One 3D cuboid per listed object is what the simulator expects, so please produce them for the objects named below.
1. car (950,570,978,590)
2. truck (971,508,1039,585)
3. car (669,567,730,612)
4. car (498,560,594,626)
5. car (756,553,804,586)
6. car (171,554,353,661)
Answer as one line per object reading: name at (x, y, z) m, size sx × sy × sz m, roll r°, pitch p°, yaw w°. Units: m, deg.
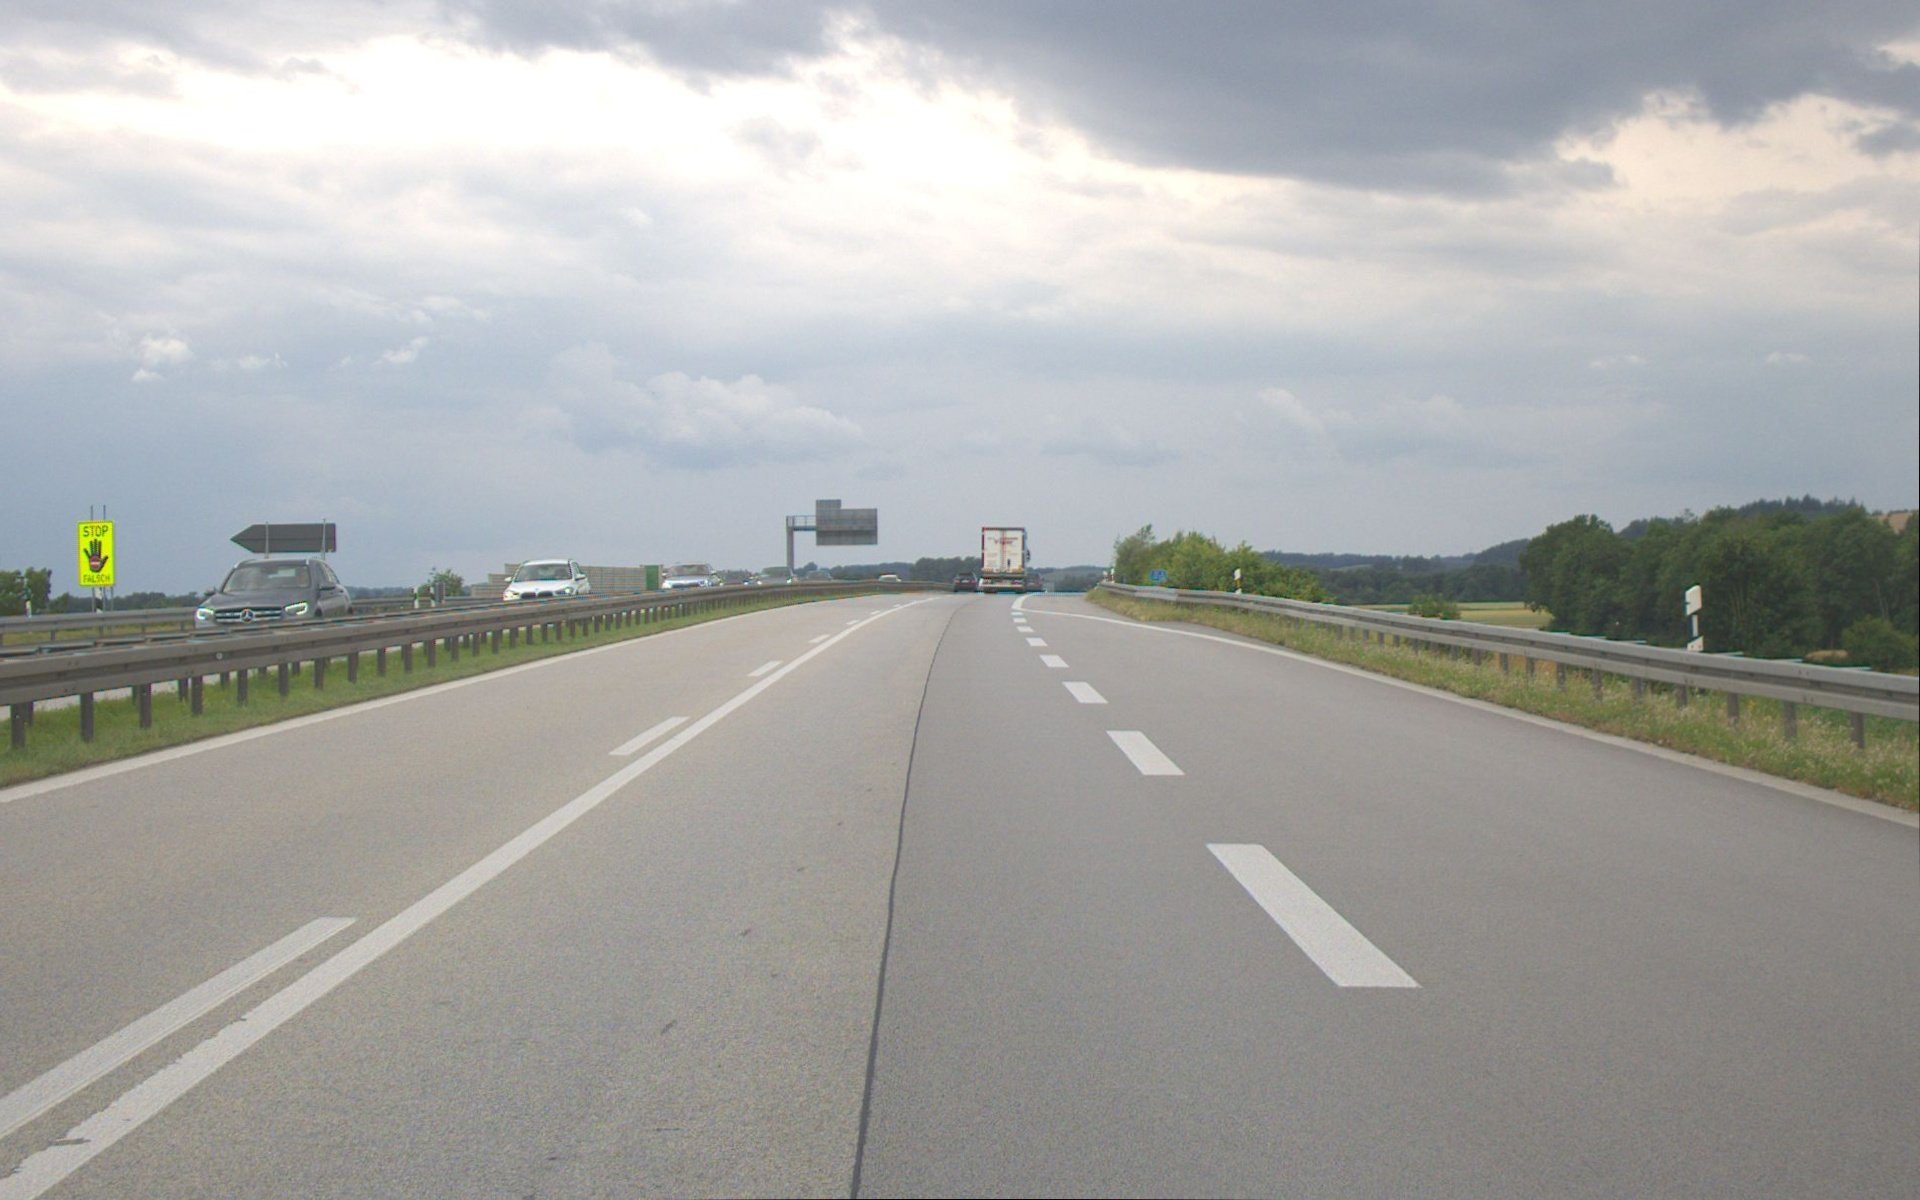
car at (0.309, -1.455, 251.742) m, size 1.993 × 1.415 × 4.000 m, roll 1°, pitch 1°, yaw 0°
truck at (2.918, -3.252, 216.431) m, size 3.673 × 4.397 × 16.338 m, roll -1°, pitch -1°, yaw 3°
car at (-9.681, -0.404, 128.247) m, size 1.891 × 1.582 × 4.762 m, roll -1°, pitch 1°, yaw 0°
car at (-10.516, -0.199, 87.646) m, size 1.853 × 1.582 × 4.817 m, roll -1°, pitch 1°, yaw 0°
car at (-9.037, -1.555, 172.640) m, size 2.136 × 1.582 × 4.999 m, roll -1°, pitch 1°, yaw 0°
car at (-11.031, 0.078, 54.649) m, size 1.891 × 1.582 × 4.762 m, roll -1°, pitch 1°, yaw 0°
